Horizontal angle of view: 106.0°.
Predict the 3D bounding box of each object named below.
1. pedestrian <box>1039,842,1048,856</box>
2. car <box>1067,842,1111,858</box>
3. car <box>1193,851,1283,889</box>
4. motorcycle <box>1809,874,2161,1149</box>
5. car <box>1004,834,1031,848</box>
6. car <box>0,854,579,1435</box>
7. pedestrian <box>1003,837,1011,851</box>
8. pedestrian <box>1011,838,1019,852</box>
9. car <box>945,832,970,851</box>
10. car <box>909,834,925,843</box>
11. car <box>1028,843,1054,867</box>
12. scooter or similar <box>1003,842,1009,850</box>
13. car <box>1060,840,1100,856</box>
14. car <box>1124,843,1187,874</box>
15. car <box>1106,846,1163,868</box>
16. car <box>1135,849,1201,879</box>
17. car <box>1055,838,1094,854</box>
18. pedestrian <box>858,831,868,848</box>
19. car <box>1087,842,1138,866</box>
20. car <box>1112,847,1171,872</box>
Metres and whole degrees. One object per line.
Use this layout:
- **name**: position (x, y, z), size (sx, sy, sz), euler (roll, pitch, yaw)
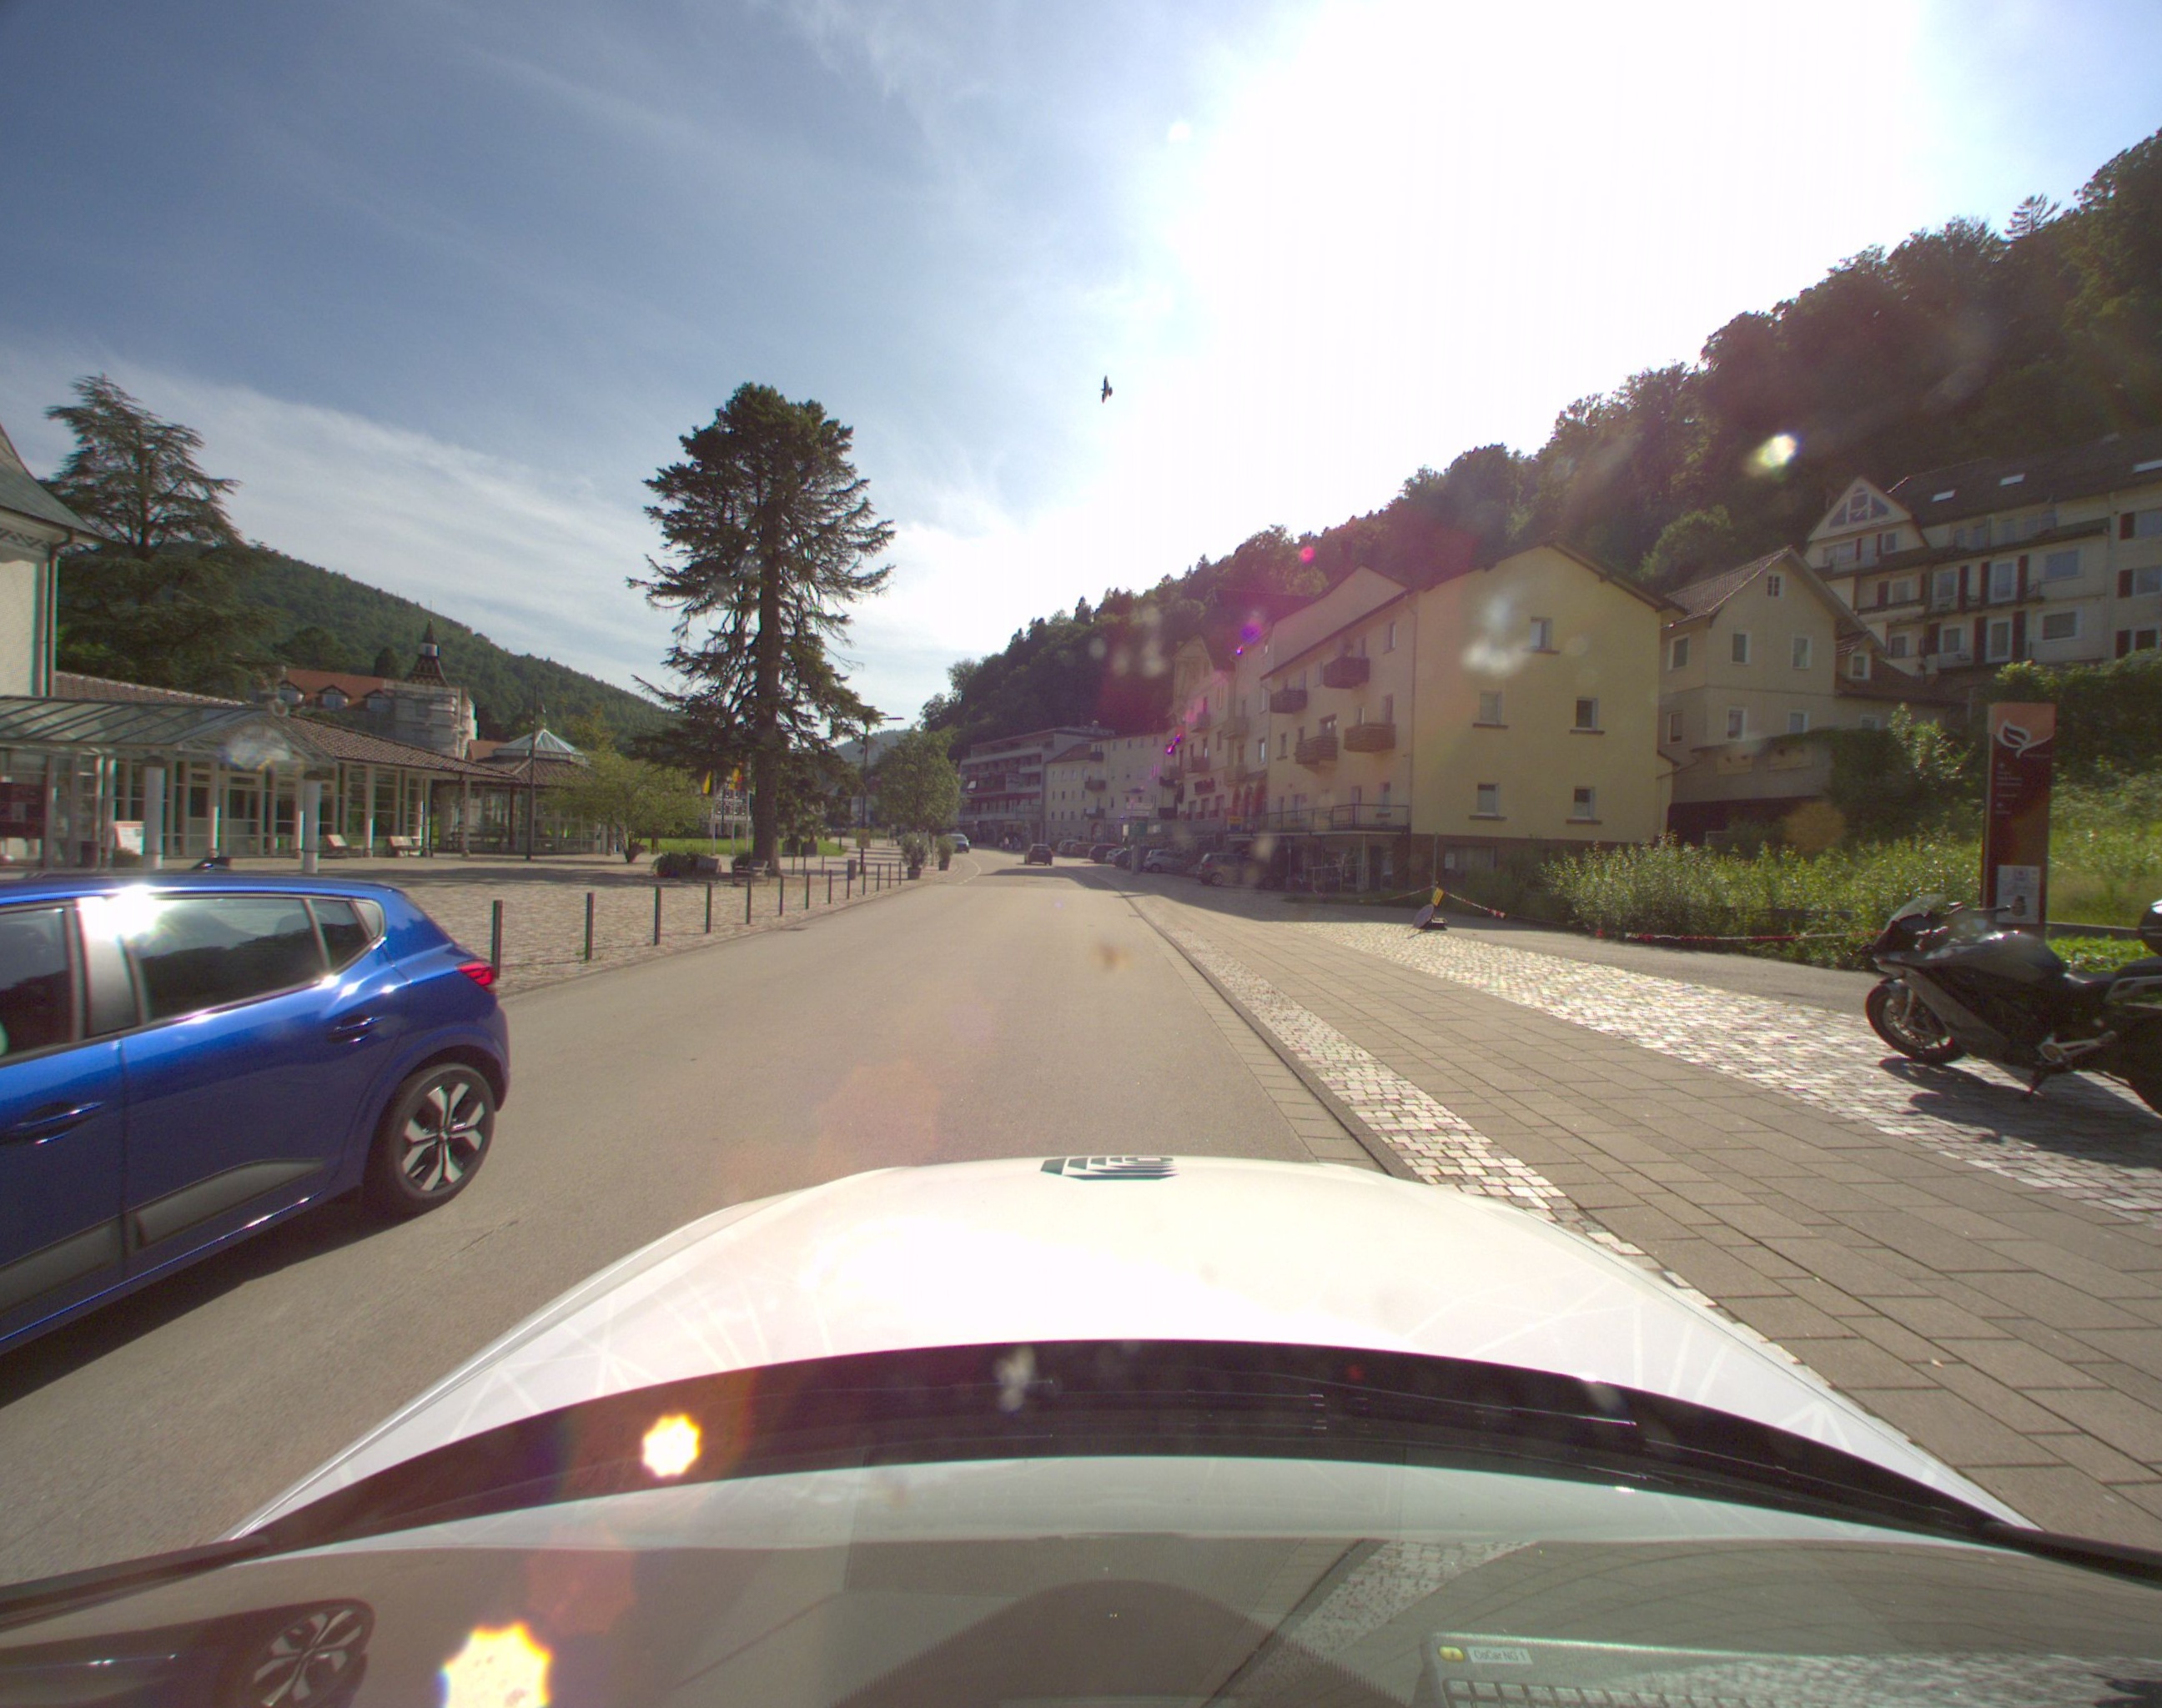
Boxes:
- **pedestrian**: position (-3.862, -0.537, 84.172), size (0.740, 1.442, 0.626), euler (0, 1, -36)
- **car**: position (0.788, -0.401, 81.757), size (4.030, 1.516, 1.758), euler (-1, 3, -26)
- **car**: position (7.584, 0.763, 39.562), size (3.857, 1.554, 1.756), euler (4, 0, -9)
- **motorcycle**: position (5.723, 0.808, 4.913), size (0.694, 1.296, 2.212), euler (-1, 0, 1)
- **car**: position (-8.412, -1.717, 107.588), size (3.179, 1.662, 1.581), euler (2, 1, -26)
- **car**: position (-3.616, 0.745, 2.331), size (1.735, 1.462, 4.187), euler (0, 0, 0)
- **pedestrian**: position (-8.949, -1.239, 98.362), size (0.761, 1.593, 0.622), euler (2, 0, -28)
- **pedestrian**: position (-7.962, -1.078, 98.219), size (0.672, 1.728, 0.701), euler (2, 0, -28)
- **car**: position (-12.940, -1.332, 85.322), size (1.859, 1.953, 4.988), euler (1, 1, -18)
- **car**: position (-29.936, -2.860, 148.911), size (1.686, 1.620, 3.962), euler (2, 1, -30)
- **car**: position (-3.029, 0.024, 61.000), size (1.724, 1.574, 3.747), euler (3, 2, -5)
- **scooter or similar**: position (-9.042, -0.919, 98.513), size (0.599, 0.950, 0.470), euler (2, 1, -28)
- **car**: position (-0.100, -0.652, 84.736), size (3.881, 1.549, 1.758), euler (-1, 3, -26)
- **car**: position (5.074, 0.296, 55.997), size (3.904, 1.804, 1.854), euler (5, 0, -6)
- **car**: position (4.235, 0.275, 65.166), size (4.347, 1.461, 1.770), euler (4, -1, -4)
- **car**: position (5.673, 0.622, 53.265), size (3.904, 1.589, 1.771), euler (4, 1, -6)
- **car**: position (-0.712, -0.866, 87.577), size (3.881, 1.612, 1.758), euler (-1, 3, -26)
- **pedestrian**: position (-23.464, -1.595, 87.747), size (0.871, 1.815, 0.685), euler (2, 0, -27)
- **car**: position (2.721, 0.001, 70.046), size (4.078, 1.666, 1.769), euler (5, 0, -6)
- **car**: position (4.314, 0.367, 58.640), size (3.904, 1.460, 1.733), euler (4, 0, -6)
